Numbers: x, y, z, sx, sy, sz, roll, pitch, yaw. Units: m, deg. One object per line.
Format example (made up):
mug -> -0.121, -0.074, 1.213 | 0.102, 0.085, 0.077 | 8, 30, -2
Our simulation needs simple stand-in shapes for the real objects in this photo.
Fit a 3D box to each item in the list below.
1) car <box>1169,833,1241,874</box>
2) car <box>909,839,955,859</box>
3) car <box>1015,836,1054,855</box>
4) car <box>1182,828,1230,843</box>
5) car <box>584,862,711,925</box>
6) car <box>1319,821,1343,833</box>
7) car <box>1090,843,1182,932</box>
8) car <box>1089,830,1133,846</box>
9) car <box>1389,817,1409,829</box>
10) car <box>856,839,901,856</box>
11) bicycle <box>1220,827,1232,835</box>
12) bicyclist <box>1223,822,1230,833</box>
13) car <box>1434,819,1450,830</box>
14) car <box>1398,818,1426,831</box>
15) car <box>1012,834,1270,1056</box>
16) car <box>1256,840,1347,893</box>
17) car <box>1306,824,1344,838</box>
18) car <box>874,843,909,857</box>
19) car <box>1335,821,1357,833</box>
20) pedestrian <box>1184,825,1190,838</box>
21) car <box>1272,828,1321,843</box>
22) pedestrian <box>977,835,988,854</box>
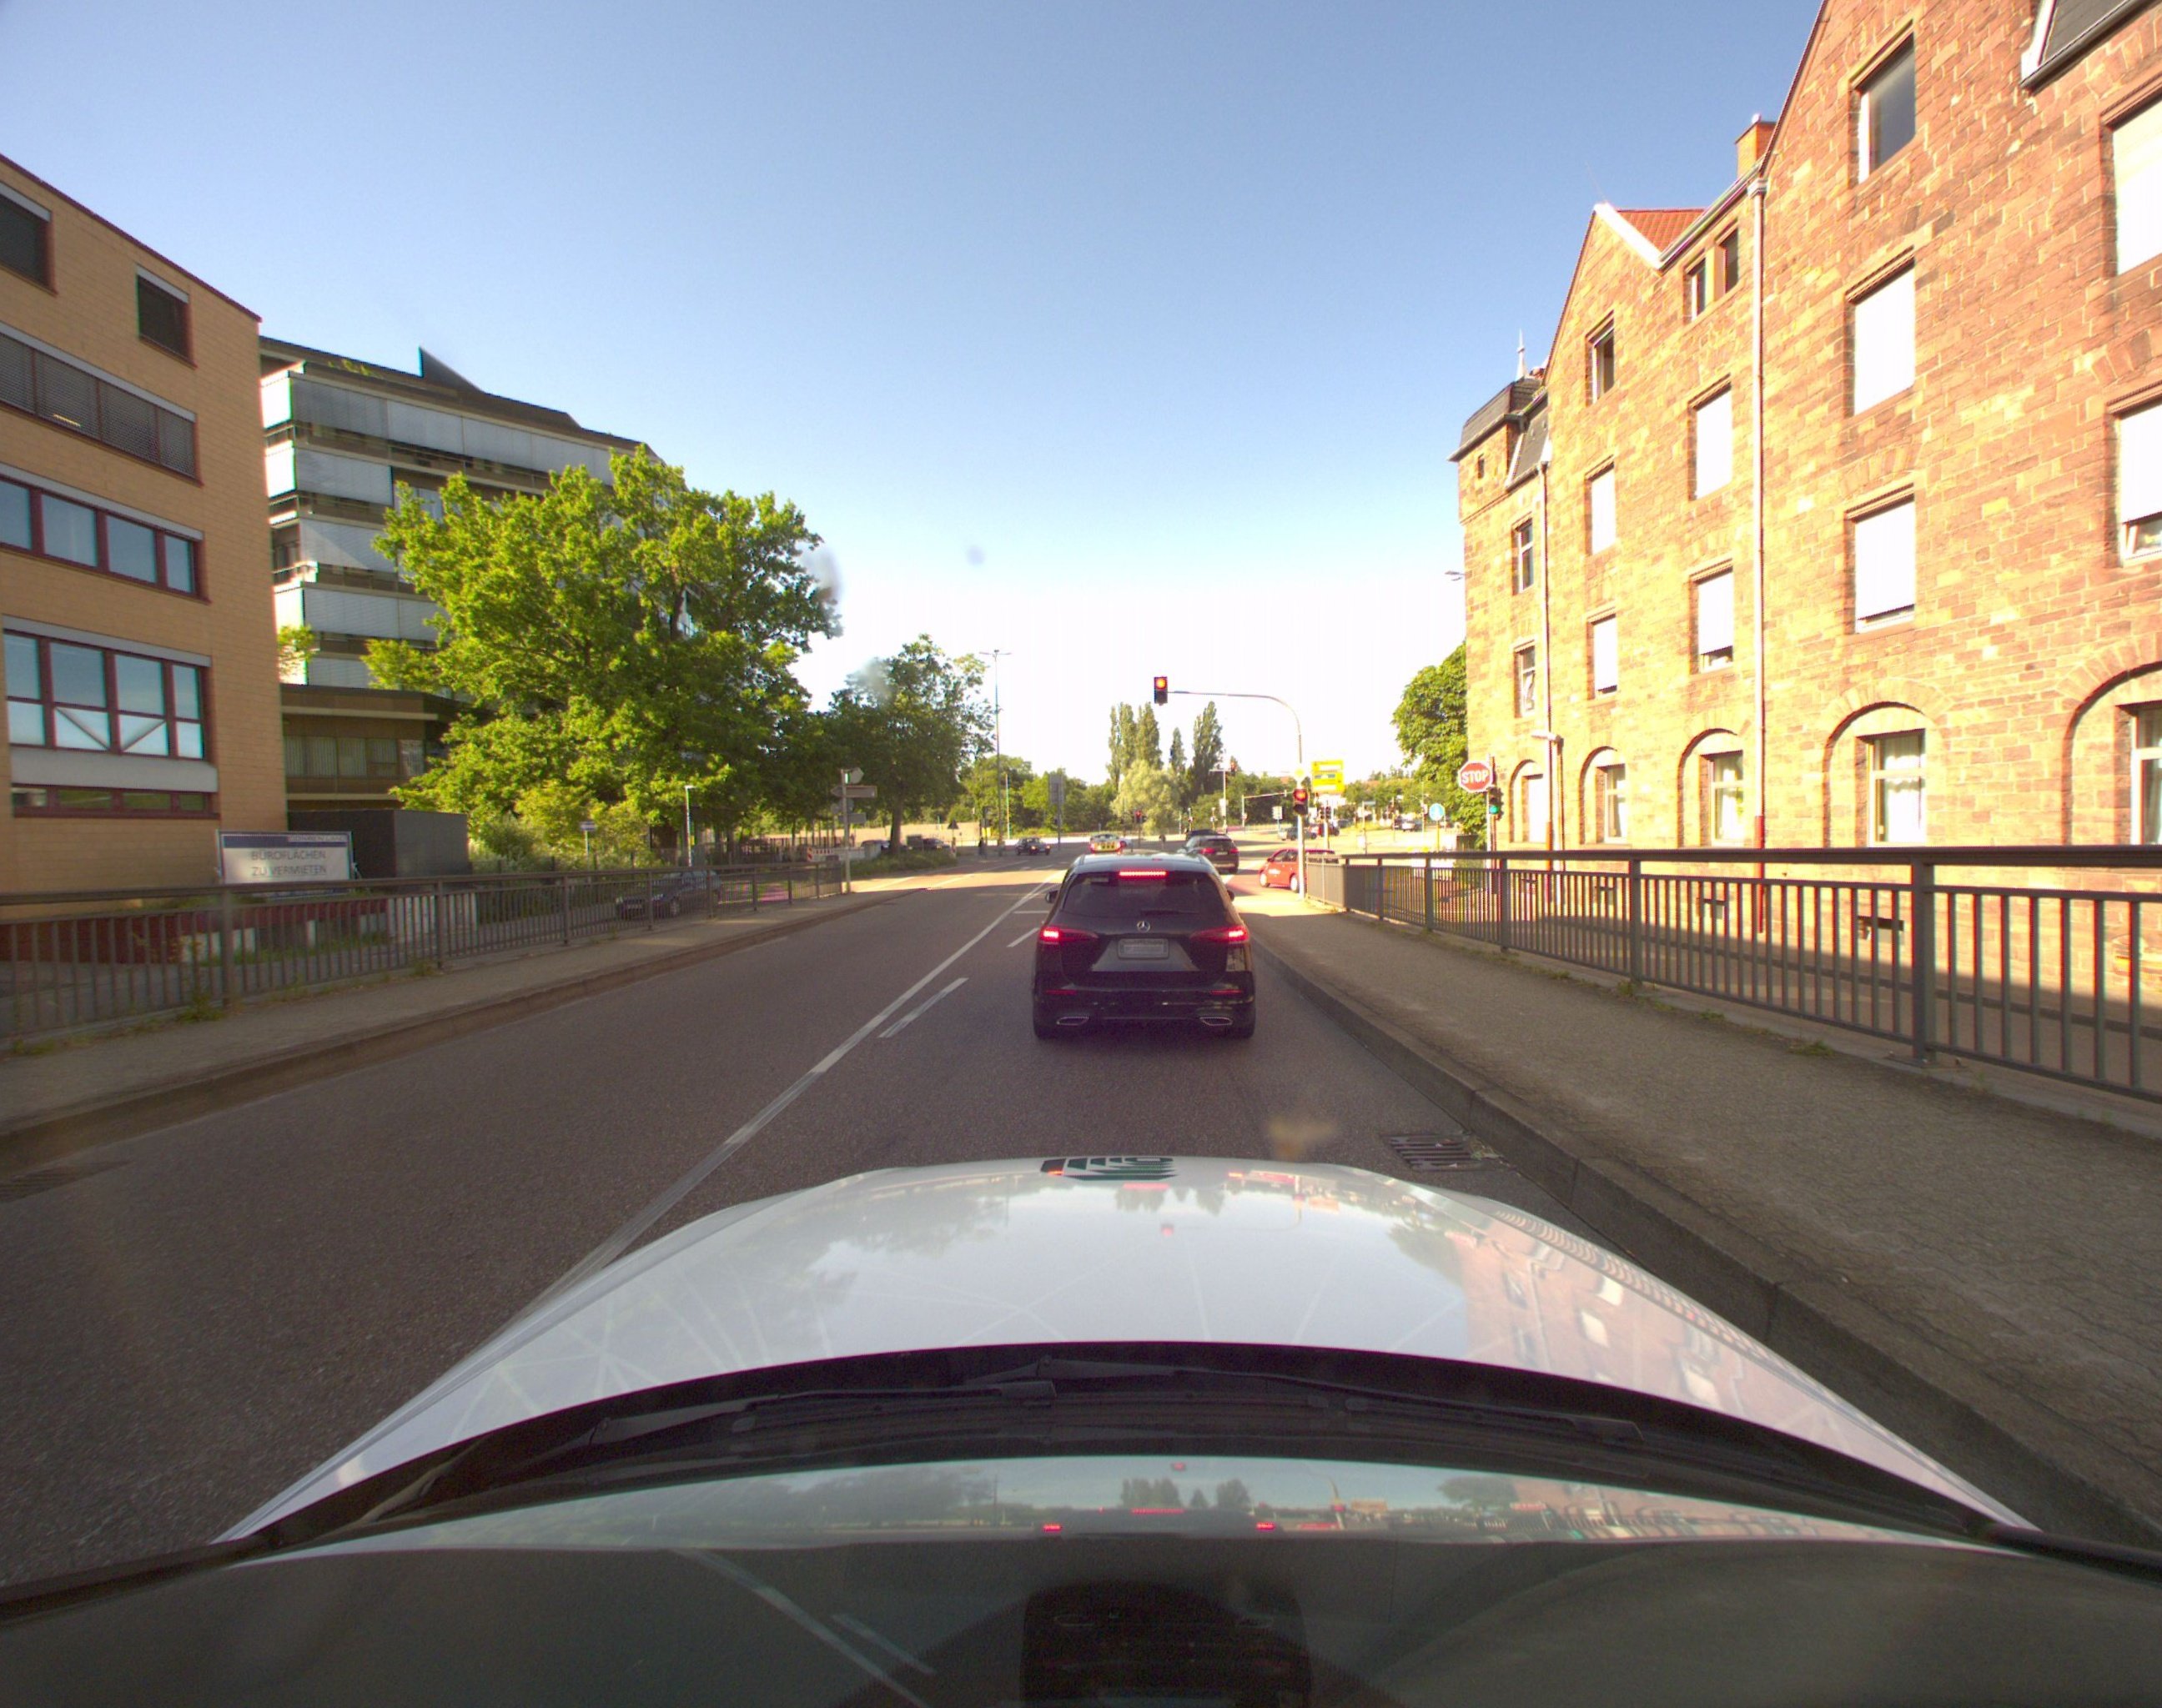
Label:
car -> 5.733, -0.040, 38.233 | 1.725, 1.812, 4.273 | 0, 1, -16
car -> -14.046, -0.514, 76.650 | 3.950, 1.623, 1.821 | 3, 3, 29
car -> -3.761, -0.685, 65.527 | 1.750, 1.407, 4.168 | -3, 2, -24
car -> 13.284, -1.959, 86.607 | 4.587, 1.294, 1.877 | -3, 2, -15
car -> -13.949, 1.199, 26.504 | 1.844, 1.692, 4.002 | -2, 2, 2
car -> 35.081, -3.761, 114.107 | 1.860, 1.578, 4.026 | -1, 2, 38
car -> 1.139, 0.604, 16.831 | 1.632, 1.529, 3.478 | -2, 1, 4
car -> 2.990, -1.561, 80.647 | 4.281, 1.365, 2.003 | -3, 2, 4
car -> 43.736, -4.263, 111.886 | 1.764, 1.357, 4.105 | -1, 3, 33
car -> -21.411, -0.671, 86.112 | 4.348, 1.592, 1.934 | -1, 2, 27
bicycle -> 19.704, -3.156, 110.569 | 0.520, 1.050, 2.003 | -2, 1, 41
bicyclist -> 19.693, -3.596, 110.550 | 0.520, 1.551, 0.812 | -2, 1, 41
car -> 52.374, -4.336, 118.342 | 1.976, 1.441, 4.319 | -2, 3, 22
car -> 41.878, -3.715, 103.038 | 1.974, 1.441, 4.855 | -1, 3, 37
car -> 0.504, 0.647, 7.951 | 1.871, 1.613, 4.002 | 0, 1, 2
car -> 7.383, 0.371, 27.610 | 1.721, 1.521, 3.476 | -2, 3, -9
car -> 28.328, -2.682, 94.546 | 4.577, 1.455, 1.976 | -5, 3, -41
car -> -21.784, -0.461, 93.633 | 3.949, 1.547, 1.902 | -1, -1, 41
car -> 38.779, -4.009, 119.179 | 1.860, 1.578, 4.026 | -1, 2, 38
pedestrian -> 13.833, -2.925, 106.281 | 0.446, 1.585, 0.504 | -2, 1, 42
car -> 22.330, -1.966, 84.476 | 4.589, 1.294, 1.989 | -3, 2, -16
pedestrian -> -8.294, -0.792, 68.394 | 0.700, 1.525, 0.746 | -1, 1, 12
